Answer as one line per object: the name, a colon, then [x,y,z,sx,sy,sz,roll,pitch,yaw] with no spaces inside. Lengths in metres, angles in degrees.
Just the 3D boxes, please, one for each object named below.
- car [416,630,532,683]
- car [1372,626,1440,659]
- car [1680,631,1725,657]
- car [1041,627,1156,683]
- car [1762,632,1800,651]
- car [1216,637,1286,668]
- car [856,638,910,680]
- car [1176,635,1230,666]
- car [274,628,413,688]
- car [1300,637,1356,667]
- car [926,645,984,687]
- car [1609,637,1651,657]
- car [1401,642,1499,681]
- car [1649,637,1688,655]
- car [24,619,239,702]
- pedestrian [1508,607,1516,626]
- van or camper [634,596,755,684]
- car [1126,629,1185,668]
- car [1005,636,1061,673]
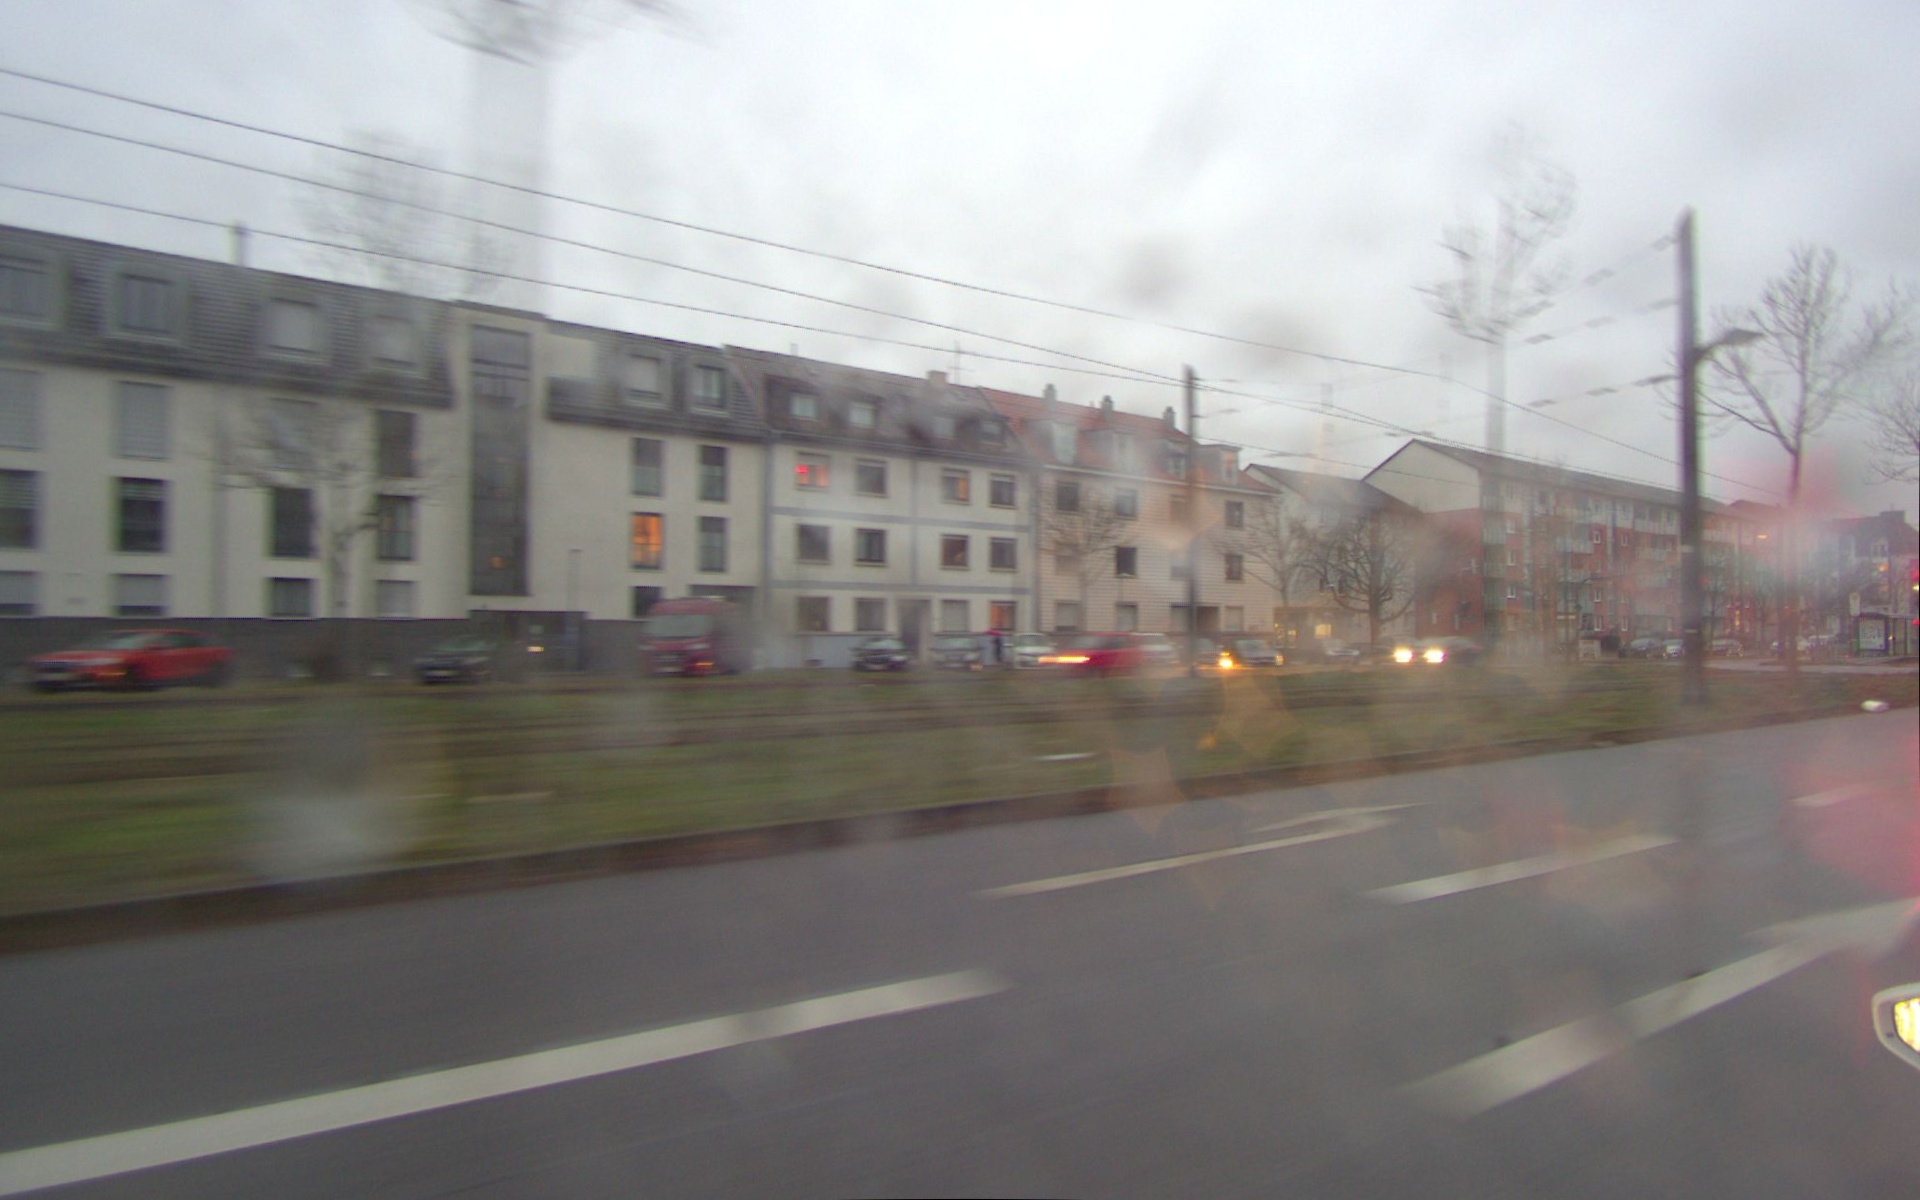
car: [-12.662,1.448,26.337,1.360,1.220,2.890,1,0,7]
car: [23.280,2.202,52.556,1.708,1.576,3.797,1,0,-2]
car: [60.887,3.557,82.332,3.965,2.040,1.978,1,0,-39]
car: [4.434,1.708,32.001,3.474,1.645,1.603,1,0,-35]
car: [74.265,3.697,90.896,3.694,1.618,1.917,1,0,-38]
car: [12.877,2.320,44.707,1.649,1.131,4.187,1,0,-4]
car: [-2.571,1.969,34.171,1.714,1.228,3.539,1,0,-3]
car: [10.387,2.152,43.105,1.370,1.162,3.043,1,0,-4]
car: [-15.638,1.435,25.633,1.360,1.320,3.099,1,0,7]
car: [17.976,2.511,49.169,1.424,1.355,3.769,0,-1,1]
car: [-0.227,2.286,35.335,1.846,1.216,3.539,1,0,-3]
car: [48.766,3.409,73.077,3.353,1.304,1.435,1,0,-36]
car: [21.762,2.689,44.544,4.744,1.522,1.867,1,0,-36]
car: [53.628,3.456,76.009,3.353,1.304,1.435,1,0,-36]
car: [-18.495,1.289,22.668,1.708,1.610,3.848,1,0,-2]
pedestrian: [34.558,1.019,62.906,0.339,1.200,0.434,1,0,15]
van or camper: [-8.008,1.114,31.062,1.961,2.391,6.880,1,0,-1]
car: [7.986,1.943,41.357,1.737,1.397,4.125,1,0,2]
car: [2.658,1.994,37.311,1.659,1.162,3.417,1,0,-3]
